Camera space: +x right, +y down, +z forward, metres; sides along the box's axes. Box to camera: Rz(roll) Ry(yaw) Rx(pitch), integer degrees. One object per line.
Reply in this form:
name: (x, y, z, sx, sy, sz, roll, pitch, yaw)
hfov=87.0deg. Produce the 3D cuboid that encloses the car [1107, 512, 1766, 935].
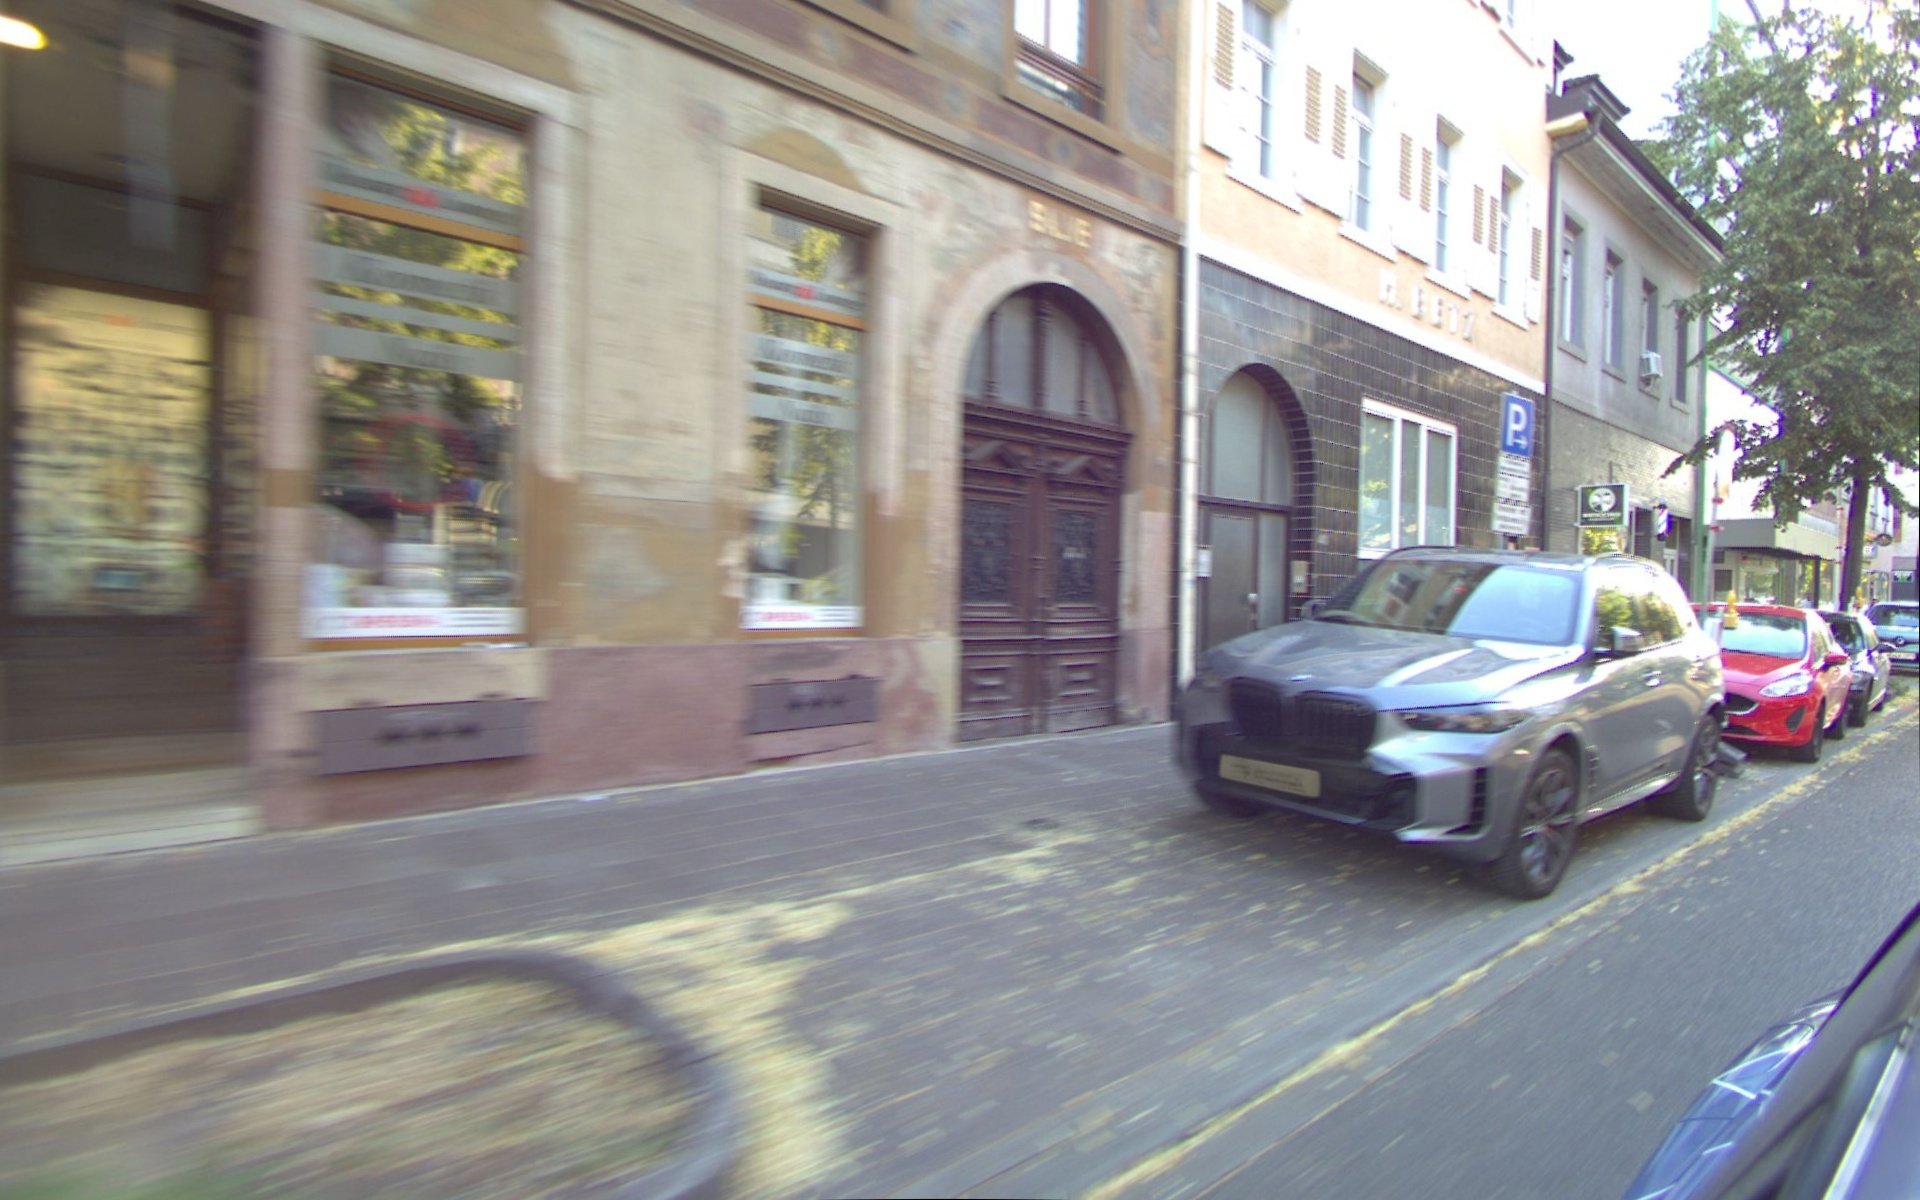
car: (3.283, 0.458, 6.489, 4.628, 1.758, 2.043, 0, 3, -41)

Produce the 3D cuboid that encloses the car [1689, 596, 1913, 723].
car: (12.082, 0.711, 14.433, 4.351, 1.407, 1.954, 0, 4, -44)

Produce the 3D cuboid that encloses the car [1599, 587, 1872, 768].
car: (8.444, 0.676, 10.900, 3.836, 1.506, 1.732, 0, 4, -44)

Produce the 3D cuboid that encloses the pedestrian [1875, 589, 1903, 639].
pedestrian: (31.096, 0.453, 33.887, 0.657, 1.652, 0.607, 0, 1, -41)

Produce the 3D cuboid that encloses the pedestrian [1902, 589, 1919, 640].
pedestrian: (31.383, 0.469, 33.082, 0.841, 1.652, 0.747, 0, 1, -41)

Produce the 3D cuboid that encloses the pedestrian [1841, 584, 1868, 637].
pedestrian: (30.374, 0.348, 34.362, 0.657, 1.760, 0.607, 1, 1, -41)

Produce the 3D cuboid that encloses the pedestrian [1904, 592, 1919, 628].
pedestrian: (44.131, 0.458, 46.830, 0.563, 1.644, 0.493, 1, 2, -40)

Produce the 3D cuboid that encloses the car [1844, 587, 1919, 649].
car: (27.010, 0.548, 27.978, 3.555, 1.603, 1.666, 3, 1, 0)

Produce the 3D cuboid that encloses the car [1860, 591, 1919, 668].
car: (21.202, 0.639, 22.222, 3.491, 1.561, 1.694, 0, 3, -42)
